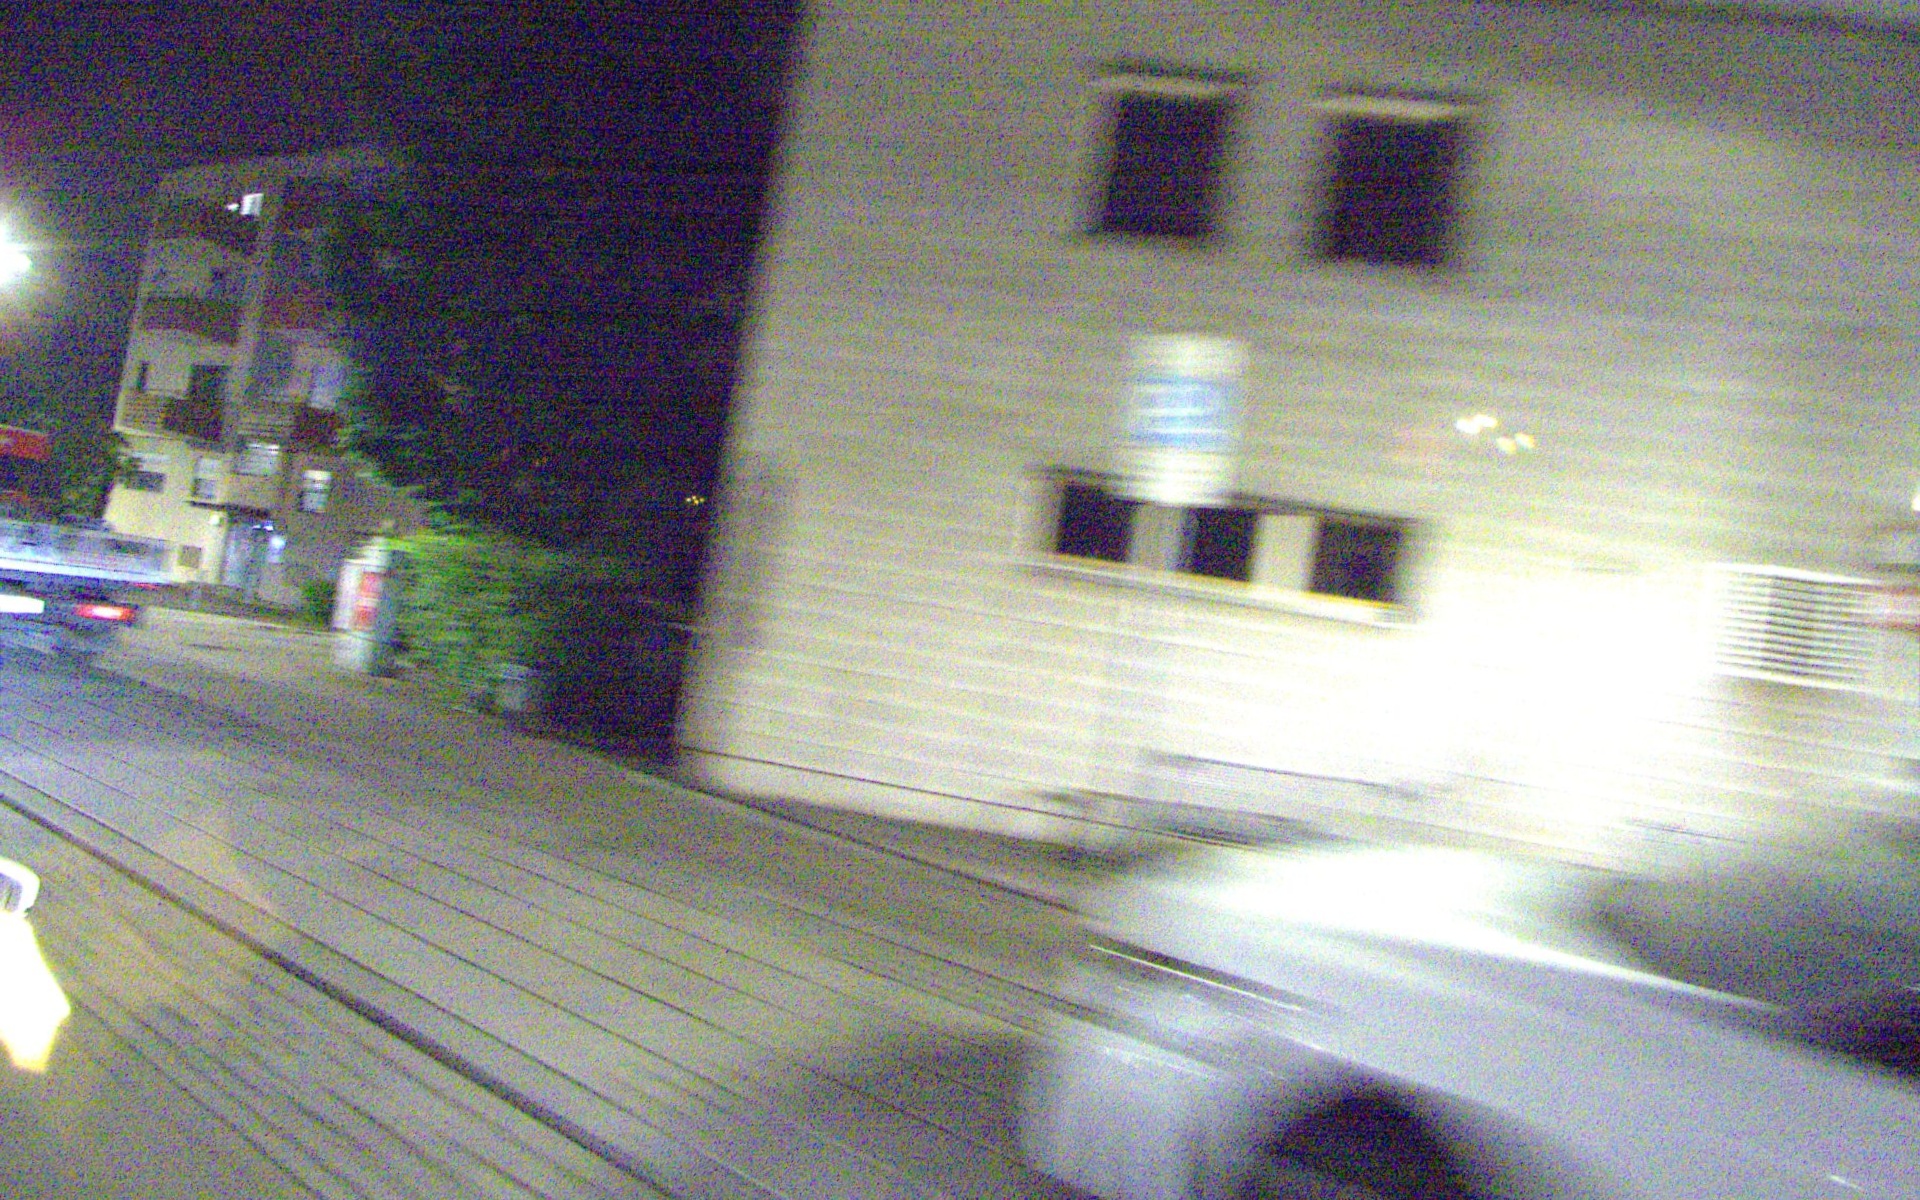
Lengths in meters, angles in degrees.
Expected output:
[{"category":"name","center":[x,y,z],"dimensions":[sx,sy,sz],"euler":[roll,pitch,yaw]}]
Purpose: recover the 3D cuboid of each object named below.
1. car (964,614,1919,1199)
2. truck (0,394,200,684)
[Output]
[{"category":"car","center":[2.213,1.070,1.919],"dimensions":[3.993,1.508,1.792],"euler":[7,-2,33]},{"category":"truck","center":[-10.340,-0.803,9.975],"dimensions":[5.684,2.337,2.342],"euler":[7,-3,32]}]
